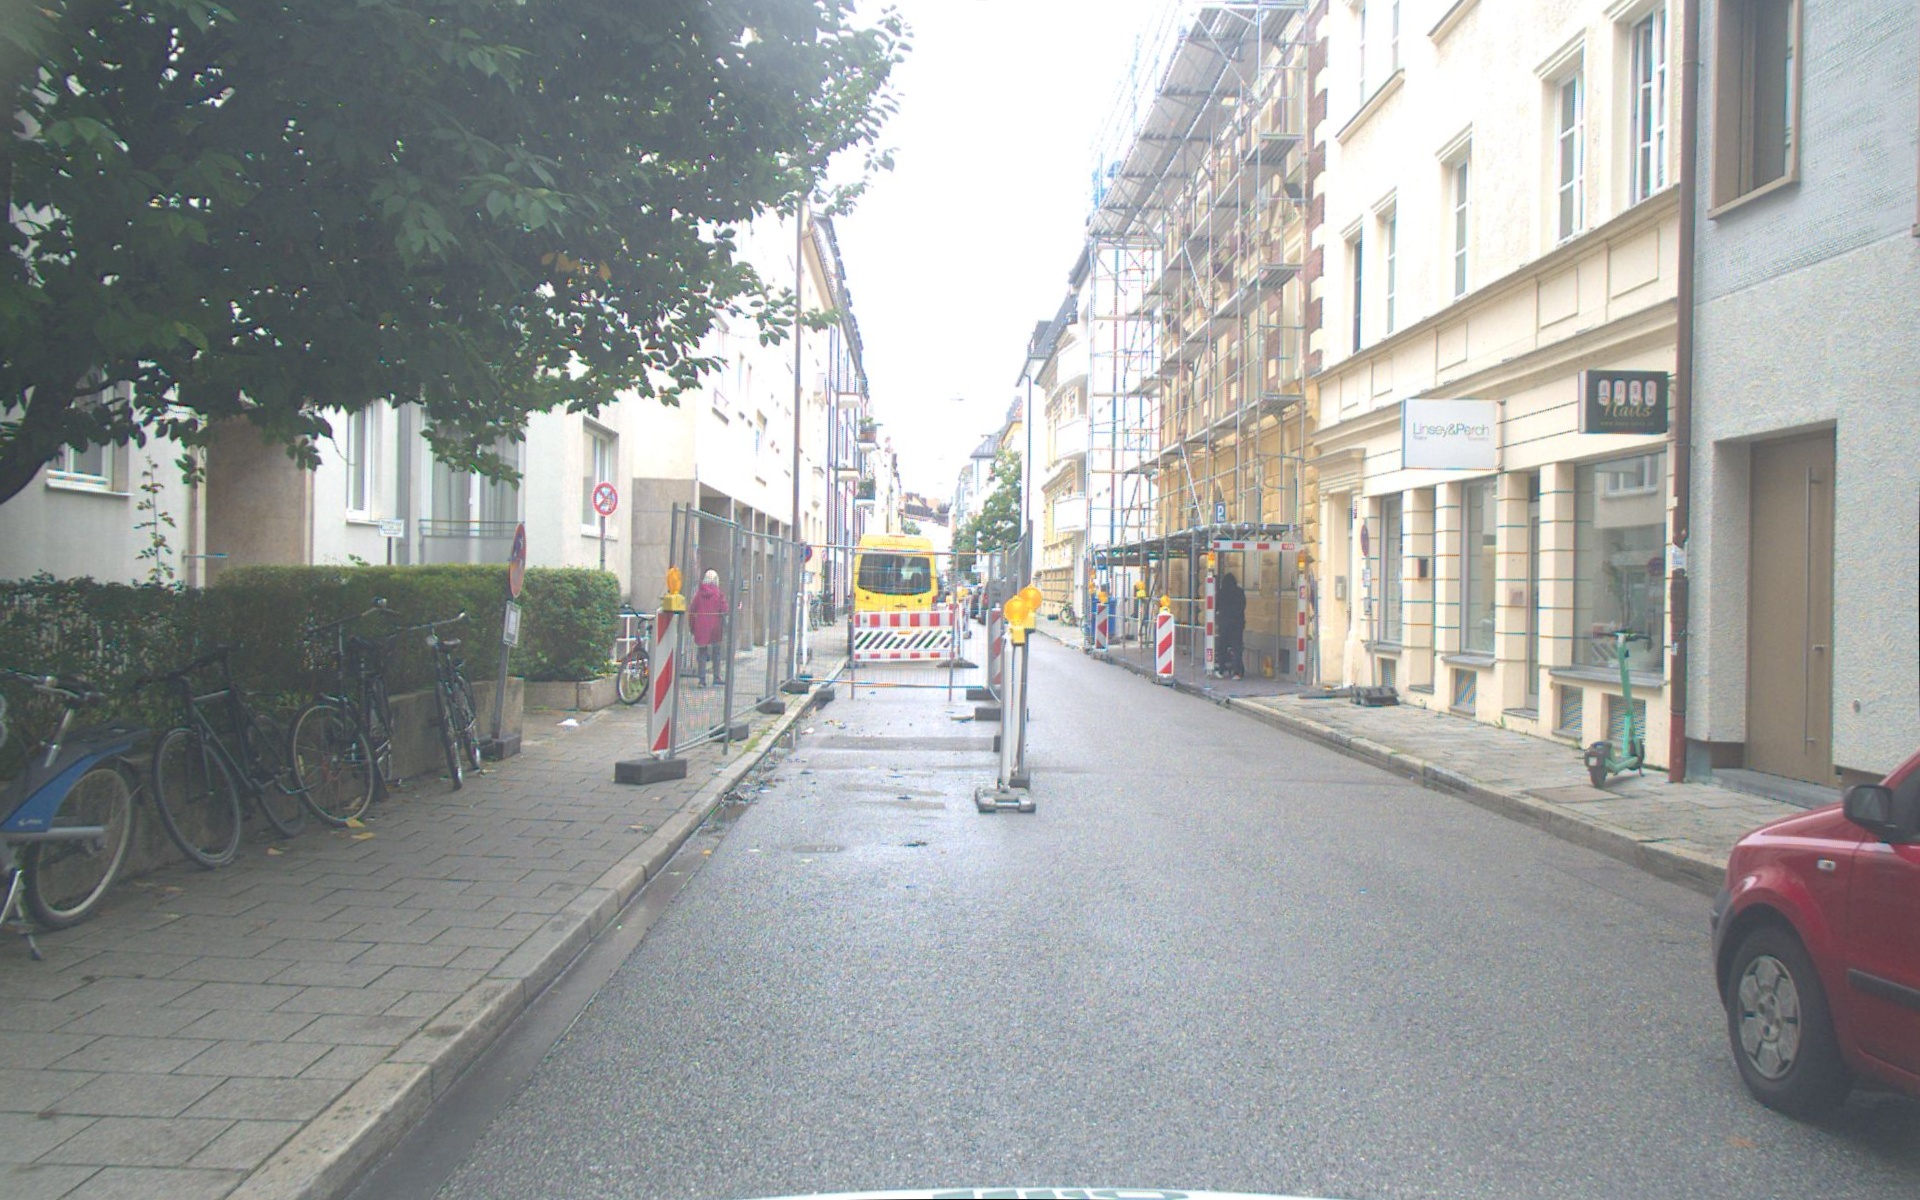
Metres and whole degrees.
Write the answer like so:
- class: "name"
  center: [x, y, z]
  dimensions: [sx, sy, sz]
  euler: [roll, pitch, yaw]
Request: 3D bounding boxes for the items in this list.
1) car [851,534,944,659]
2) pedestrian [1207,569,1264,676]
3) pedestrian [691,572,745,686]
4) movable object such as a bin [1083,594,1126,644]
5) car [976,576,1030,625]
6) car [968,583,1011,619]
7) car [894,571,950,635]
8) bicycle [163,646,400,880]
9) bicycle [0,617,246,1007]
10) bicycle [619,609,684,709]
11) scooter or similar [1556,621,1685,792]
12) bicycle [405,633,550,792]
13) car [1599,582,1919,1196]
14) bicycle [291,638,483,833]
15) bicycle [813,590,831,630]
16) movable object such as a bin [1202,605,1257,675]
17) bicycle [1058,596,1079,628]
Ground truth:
- class: "car"
  center: [-1.435, -0.094, 38.176]
  dimensions: [1.953, 2.624, 6.734]
  euler: [0, 0, -2]
- class: "pedestrian"
  center: [4.746, 0.382, 28.540]
  dimensions: [0.715, 1.783, 0.988]
  euler: [-3, 0, -2]
- class: "pedestrian"
  center: [-3.352, 0.391, 22.958]
  dimensions: [0.625, 1.558, 0.747]
  euler: [0, 0, 1]
- class: "movable object such as a bin"
  center: [4.198, 0.540, 47.994]
  dimensions: [1.063, 1.370, 1.319]
  euler: [-2, 0, 11]
- class: "car"
  center: [1.786, -0.006, 70.345]
  dimensions: [1.953, 1.965, 4.658]
  euler: [2, 0, -2]
- class: "car"
  center: [1.398, 0.008, 80.472]
  dimensions: [1.856, 1.670, 4.320]
  euler: [1, 1, -2]
- class: "car"
  center: [-1.235, 0.082, 53.334]
  dimensions: [1.692, 1.930, 5.507]
  euler: [-1, 0, -2]
- class: "bicycle"
  center: [-3.348, 0.758, 8.309]
  dimensions: [0.427, 0.995, 1.698]
  euler: [4, -1, 0]
- class: "bicycle"
  center: [-3.170, 0.664, 5.848]
  dimensions: [0.478, 1.171, 1.698]
  euler: [4, -1, 0]
- class: "bicycle"
  center: [-3.652, 0.673, 19.670]
  dimensions: [0.369, 1.081, 1.597]
  euler: [7, 0, -1]
- class: "scooter or similar"
  center: [5.260, 0.808, 13.124]
  dimensions: [0.486, 1.204, 1.600]
  euler: [-2, 1, 38]
- class: "bicycle"
  center: [-3.383, 0.754, 11.735]
  dimensions: [0.434, 0.995, 1.816]
  euler: [4, -1, 0]
- class: "car"
  center: [3.325, 0.772, 4.285]
  dimensions: [1.735, 1.550, 4.066]
  euler: [3, 0, 0]
- class: "bicycle"
  center: [-3.364, 0.754, 9.870]
  dimensions: [0.434, 0.995, 1.853]
  euler: [4, -1, 0]
- class: "bicycle"
  center: [-4.429, 0.311, 53.050]
  dimensions: [0.374, 1.209, 2.132]
  euler: [2, 1, -9]
- class: "movable object such as a bin"
  center: [4.732, 0.692, 29.104]
  dimensions: [0.715, 1.160, 0.988]
  euler: [-3, 0, -3]
- class: "bicycle"
  center: [4.170, 0.454, 63.511]
  dimensions: [0.625, 1.173, 1.915]
  euler: [-2, 1, -1]
